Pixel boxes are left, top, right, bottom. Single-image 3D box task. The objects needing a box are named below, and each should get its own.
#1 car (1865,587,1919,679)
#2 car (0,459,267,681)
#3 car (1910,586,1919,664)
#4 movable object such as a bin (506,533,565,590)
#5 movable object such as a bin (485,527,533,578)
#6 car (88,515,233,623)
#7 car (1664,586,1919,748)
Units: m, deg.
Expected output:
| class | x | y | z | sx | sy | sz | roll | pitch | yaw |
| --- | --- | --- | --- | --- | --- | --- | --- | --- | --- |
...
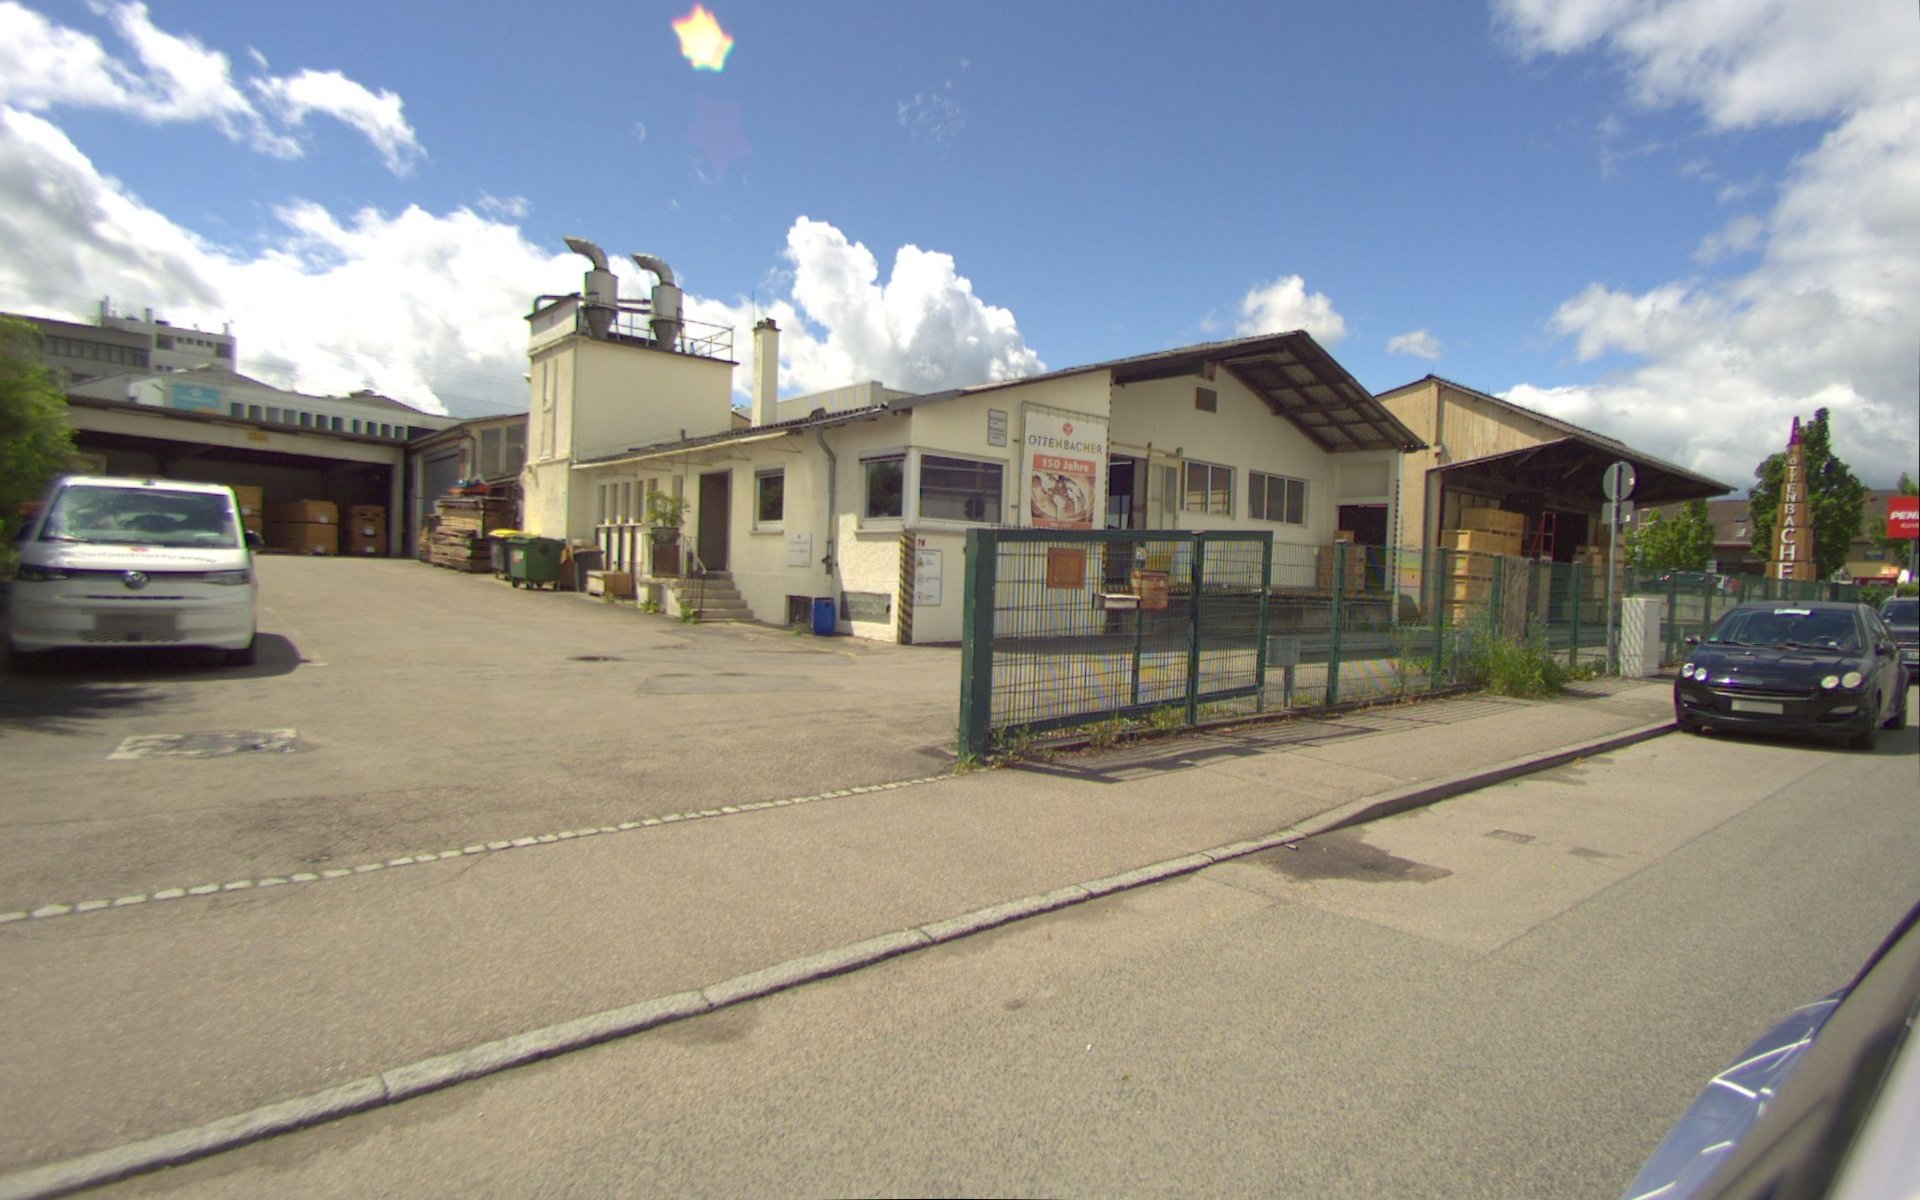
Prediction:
| class | x | y | z | sx | sy | sz | roll | pitch | yaw |
| --- | --- | --- | --- | --- | --- | --- | --- | --- | --- |
| car | 18.417 | 0.559 | 18.842 | 4.114 | 1.595 | 1.810 | 0 | 0 | -40 |
| car | -8.995 | -0.378 | 11.221 | 1.963 | 1.910 | 4.927 | 1 | 2 | -37 |
| car | 22.068 | 0.504 | 21.813 | 3.929 | 1.638 | 1.834 | 0 | -1 | -40 |
| movable object such as a bin | -10.744 | -0.982 | 25.622 | 1.043 | 1.364 | 1.121 | 0 | 4 | -43 |
| movable object such as a bin | -12.371 | -1.297 | 27.759 | 0.915 | 1.338 | 1.009 | 0 | 4 | -43 |
| car | -12.898 | -0.547 | 16.245 | 1.648 | 1.521 | 4.030 | 0 | 3 | -41 |
| car | 9.515 | 0.608 | 11.356 | 3.930 | 1.482 | 1.758 | 0 | 1 | -41 |
